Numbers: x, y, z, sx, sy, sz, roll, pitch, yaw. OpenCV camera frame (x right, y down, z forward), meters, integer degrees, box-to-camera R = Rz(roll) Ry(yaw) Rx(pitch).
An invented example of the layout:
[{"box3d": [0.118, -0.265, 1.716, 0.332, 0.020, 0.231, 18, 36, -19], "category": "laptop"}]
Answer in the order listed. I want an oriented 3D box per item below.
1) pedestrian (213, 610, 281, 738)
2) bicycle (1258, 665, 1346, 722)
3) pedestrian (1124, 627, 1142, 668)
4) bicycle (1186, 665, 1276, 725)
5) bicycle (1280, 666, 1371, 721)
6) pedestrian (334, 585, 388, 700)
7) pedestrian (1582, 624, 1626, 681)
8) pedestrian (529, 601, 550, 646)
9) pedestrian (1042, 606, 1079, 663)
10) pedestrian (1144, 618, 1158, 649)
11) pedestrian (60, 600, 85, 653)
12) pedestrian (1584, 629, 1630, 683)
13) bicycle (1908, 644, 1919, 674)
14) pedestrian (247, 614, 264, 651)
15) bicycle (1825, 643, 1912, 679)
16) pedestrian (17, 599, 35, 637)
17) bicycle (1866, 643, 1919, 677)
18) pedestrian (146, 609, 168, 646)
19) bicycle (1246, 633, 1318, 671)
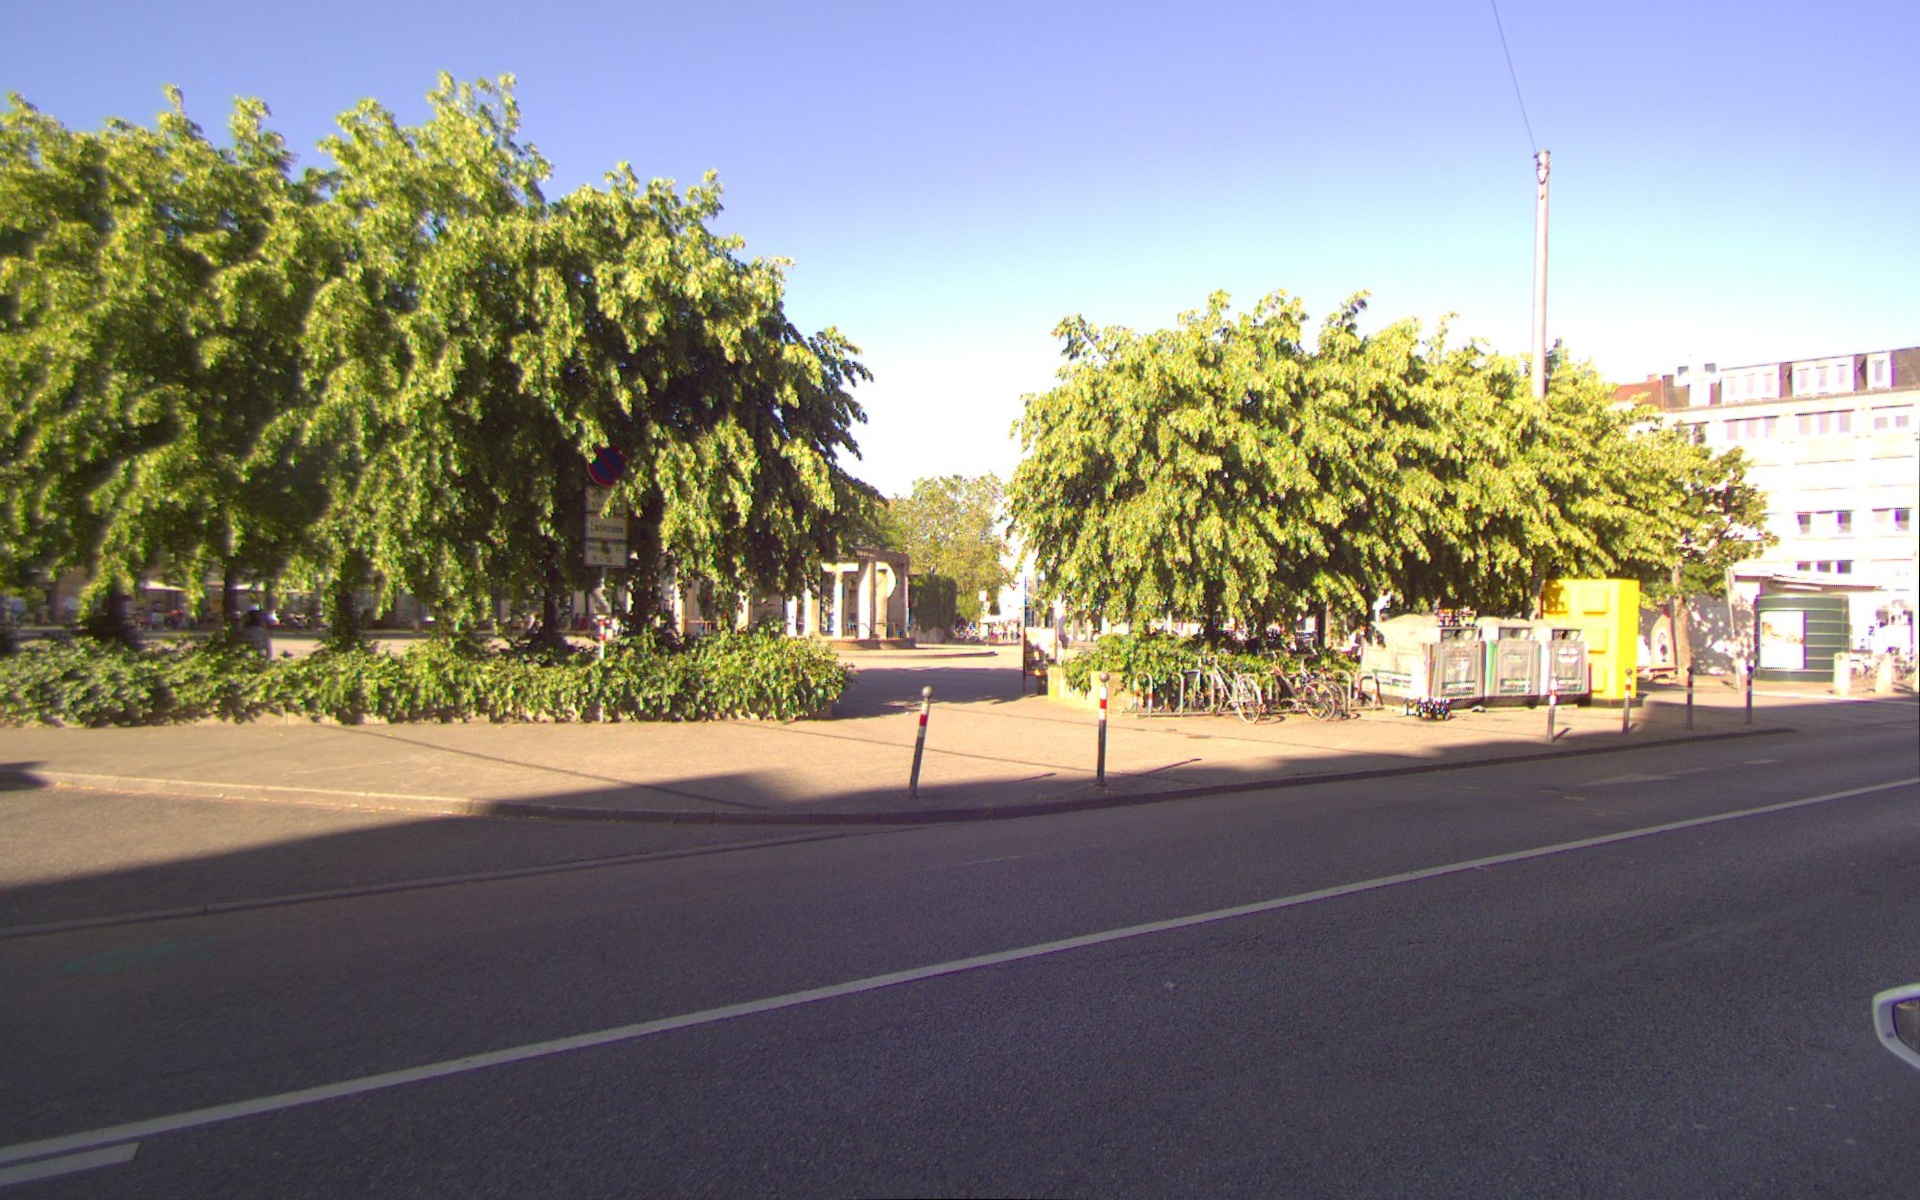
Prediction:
[{"box3d": [-10.787, 1.097, 15.211, 0.722, 1.881, 0.578, 2, 0, -28], "category": "pedestrian"}, {"box3d": [5.472, 1.482, 16.138, 0.435, 0.779, 1.469, 2, 0, -25], "category": "bicycle"}, {"box3d": [8.701, 2.365, 50.459, 0.670, 2.040, 0.579, 2, 0, -23], "category": "pedestrian"}, {"box3d": [4.152, 1.444, 15.498, 0.467, 0.779, 1.653, 2, 0, -20], "category": "bicycle"}, {"box3d": [5.955, 1.506, 16.413, 0.468, 0.779, 1.468, 2, 0, -27], "category": "bicycle"}, {"box3d": [-10.072, 0.707, 16.901, 0.574, 1.881, 0.598, 1, 0, 41], "category": "pedestrian"}, {"box3d": [20.375, 1.645, 31.794, 0.734, 1.748, 0.898, 1, 0, -26], "category": "pedestrian"}, {"box3d": [-16.863, 0.937, 40.248, 0.579, 1.744, 0.593, 2, 0, -44], "category": "pedestrian"}, {"box3d": [3.163, 1.079, 31.733, 0.918, 1.775, 0.728, 2, 0, -15], "category": "pedestrian"}, {"box3d": [11.489, 2.016, 60.387, 0.591, 1.816, 0.581, 1, 0, -12], "category": "pedestrian"}, {"box3d": [-30.840, 0.916, 34.906, 0.597, 1.816, 0.576, 2, 0, -40], "category": "pedestrian"}, {"box3d": [20.498, 1.748, 31.843, 0.727, 1.658, 0.983, 1, 0, -26], "category": "pedestrian"}, {"box3d": [37.123, 2.249, 37.705, 0.796, 1.119, 2.072, 1, -1, -30], "category": "bicycle"}, {"box3d": [-35.124, 1.618, 50.094, 0.579, 1.816, 0.593, 2, 0, -44], "category": "pedestrian"}, {"box3d": [30.855, 2.067, 34.152, 0.796, 1.119, 2.072, 1, -1, -30], "category": "bicycle"}, {"box3d": [-45.075, 0.862, 48.498, 0.597, 1.816, 0.575, 2, 0, -44], "category": "pedestrian"}, {"box3d": [33.160, 2.114, 35.127, 0.796, 1.119, 2.072, 1, -1, -30], "category": "bicycle"}, {"box3d": [-40.224, 1.355, 50.334, 0.571, 1.816, 0.601, 1, 0, 19], "category": "pedestrian"}, {"box3d": [9.182, 1.472, 28.656, 2.026, 1.030, 0.502, 2, 0, -17], "category": "bicycle"}]
